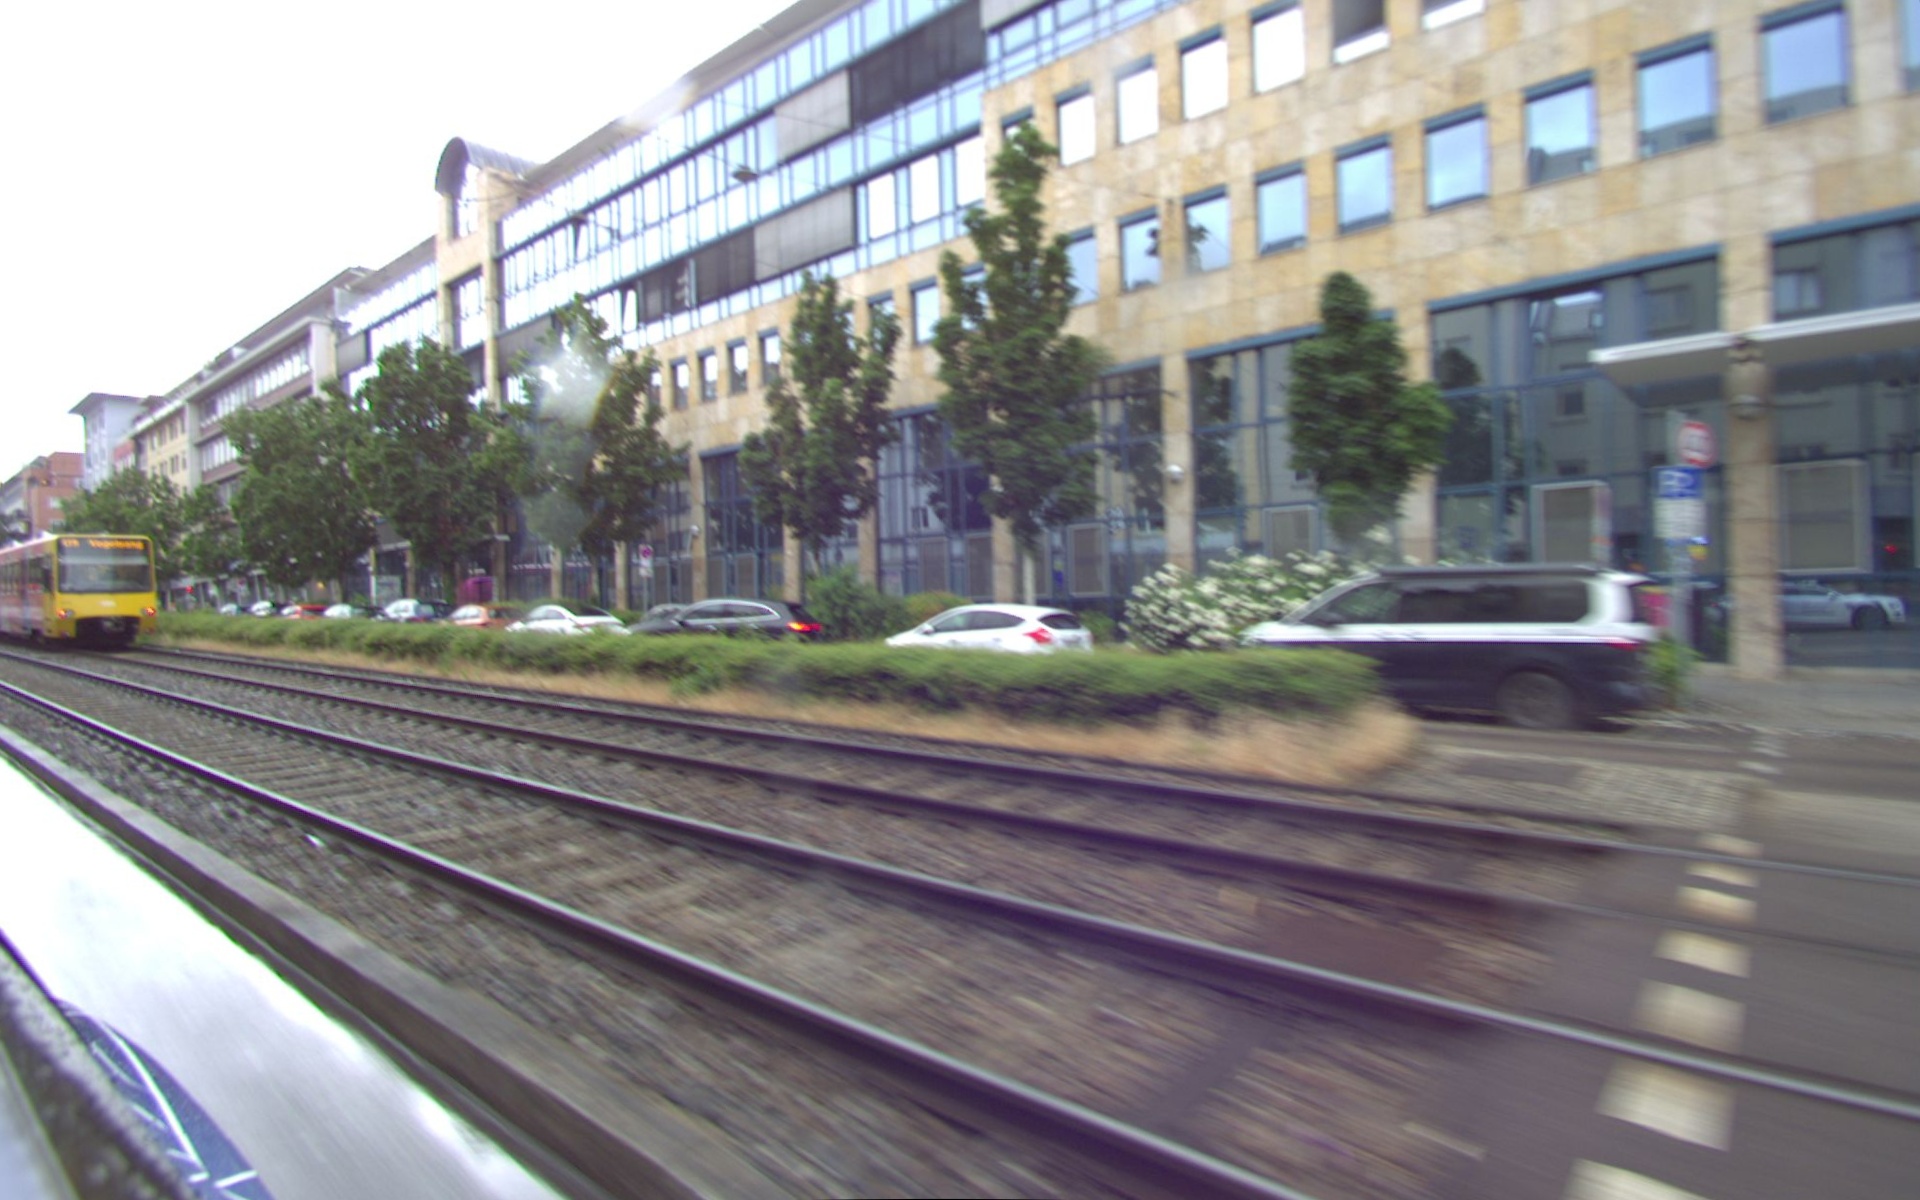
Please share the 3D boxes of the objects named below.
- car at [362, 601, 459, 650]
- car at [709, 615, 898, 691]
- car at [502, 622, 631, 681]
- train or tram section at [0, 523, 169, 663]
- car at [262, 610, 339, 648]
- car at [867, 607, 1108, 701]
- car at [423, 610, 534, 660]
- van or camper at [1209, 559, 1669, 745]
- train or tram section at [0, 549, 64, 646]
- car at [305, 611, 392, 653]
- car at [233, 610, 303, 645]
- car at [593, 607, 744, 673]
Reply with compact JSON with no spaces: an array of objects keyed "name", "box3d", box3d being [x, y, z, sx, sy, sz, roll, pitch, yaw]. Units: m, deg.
[{"name":"car","box3d":[-19.411,0.878,35.682,4.291,1.613,1.632,-1,-1,41]},{"name":"car","box3d":[-3.533,1.132,22.379,4.291,1.497,1.672,-2,-1,39]},{"name":"car","box3d":[-11.062,1.380,28.337,4.191,1.509,1.632,-1,-1,41]},{"name":"train or tram section","box3d":[-32.695,-0.160,36.622,18.757,4.081,2.872,0,-1,41]},{"name":"car","box3d":[-28.562,1.244,43.753,4.619,1.552,1.632,-1,-1,41]},{"name":"car","box3d":[0.418,0.936,18.449,4.251,1.497,1.672,-2,-1,40]},{"name":"car","box3d":[-15.383,1.079,32.241,4.291,1.509,1.632,-1,-1,41]},{"name":"van or camper","box3d":[6.158,0.553,13.460,5.195,2.012,1.996,0,1,41]},{"name":"train or tram section","box3d":[-46.752,-0.061,48.855,18.401,4.081,2.872,0,-1,41]},{"name":"car","box3d":[-24.156,1.215,39.921,4.619,1.552,1.632,-1,-1,41]},{"name":"car","box3d":[-32.116,1.267,46.917,4.619,1.552,1.632,-1,-1,41]},{"name":"car","box3d":[-7.355,0.985,25.391,3.996,1.497,1.672,-2,-1,40]}]
